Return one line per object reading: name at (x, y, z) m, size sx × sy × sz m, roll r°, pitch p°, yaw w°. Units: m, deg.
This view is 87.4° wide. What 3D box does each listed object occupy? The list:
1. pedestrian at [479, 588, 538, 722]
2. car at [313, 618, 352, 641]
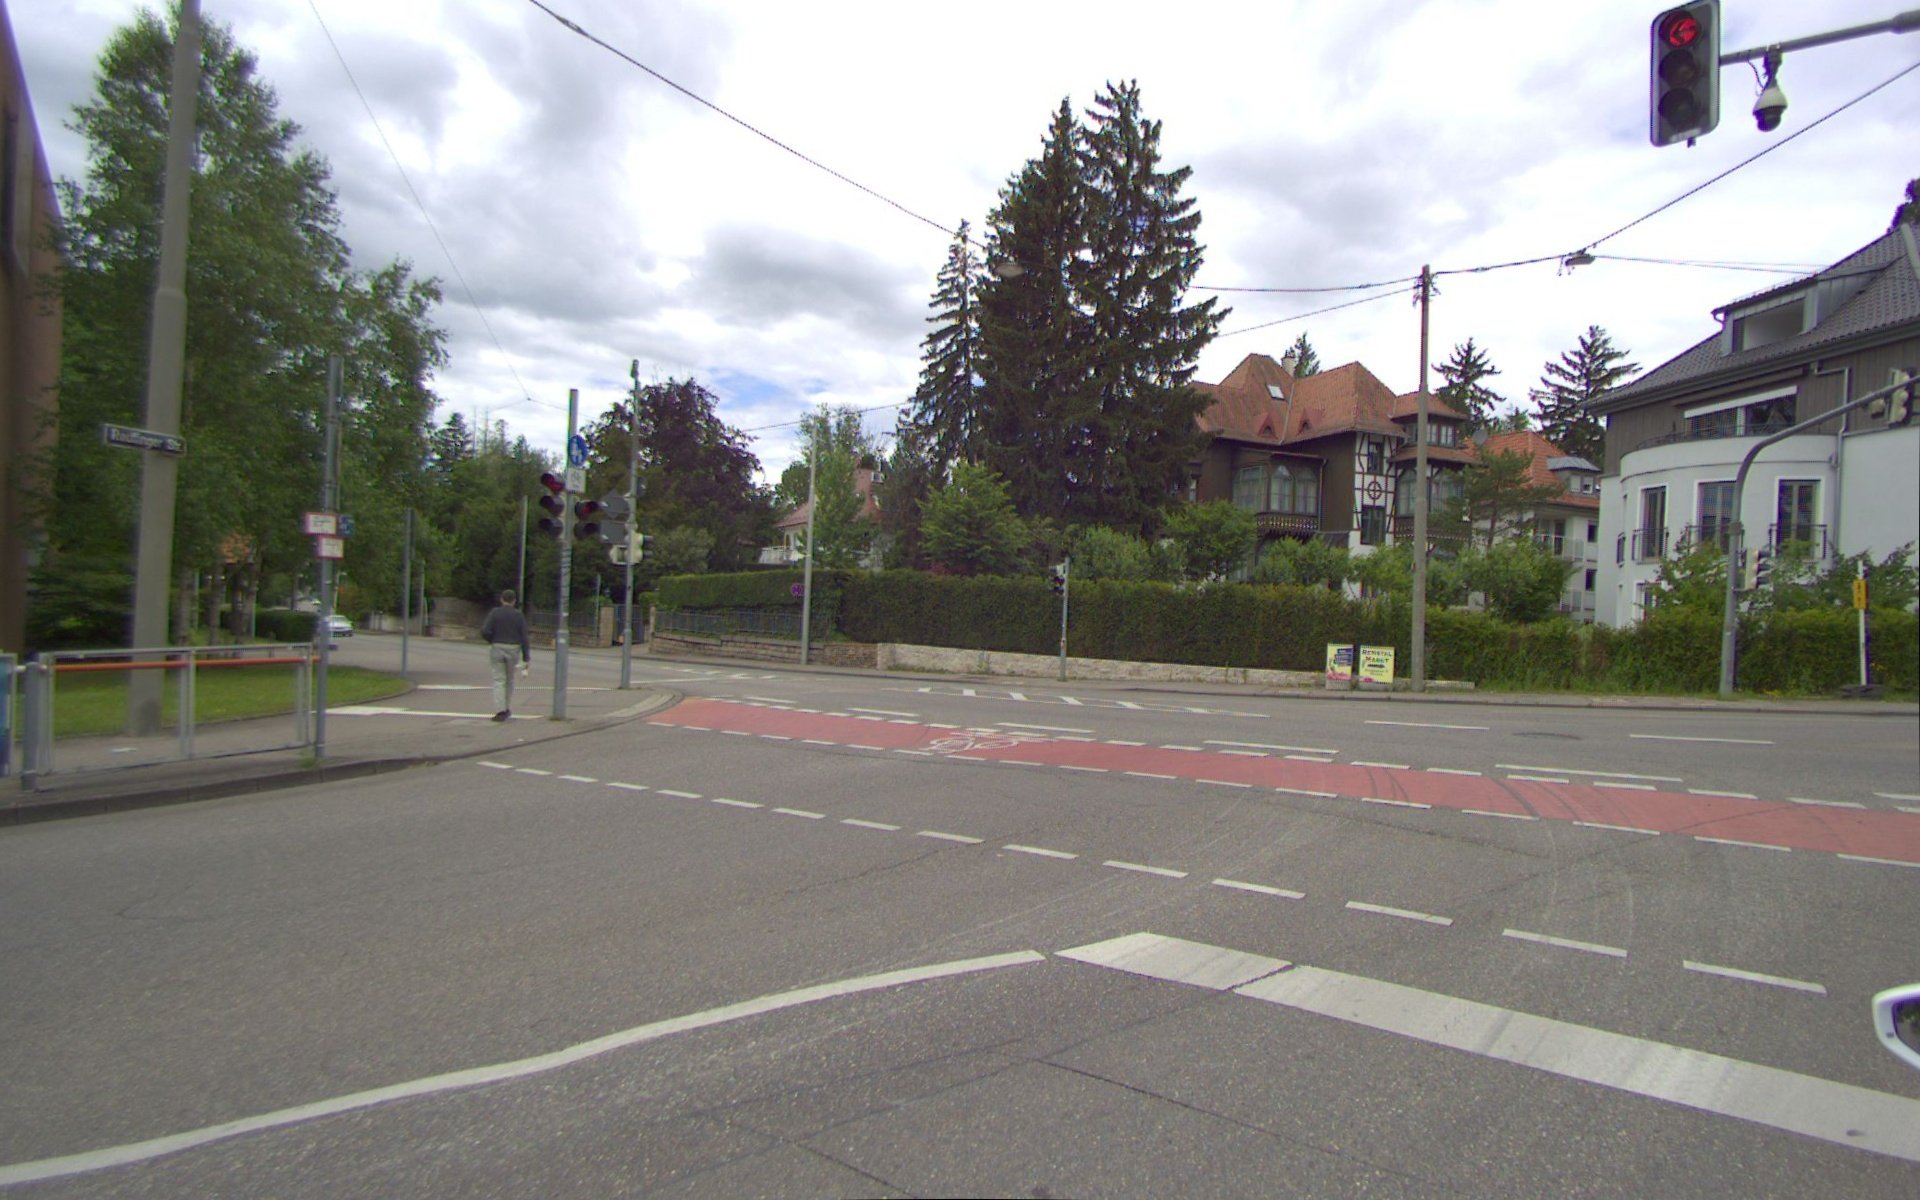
pedestrian at (-5.819, 0.690, 12.951) m, size 0.674 × 1.655 × 0.735 m, roll 0°, pitch -1°, yaw -25°
car at (-41.845, 1.945, 66.939) m, size 1.695 × 1.432 × 4.375 m, roll 1°, pitch 0°, yaw -39°
